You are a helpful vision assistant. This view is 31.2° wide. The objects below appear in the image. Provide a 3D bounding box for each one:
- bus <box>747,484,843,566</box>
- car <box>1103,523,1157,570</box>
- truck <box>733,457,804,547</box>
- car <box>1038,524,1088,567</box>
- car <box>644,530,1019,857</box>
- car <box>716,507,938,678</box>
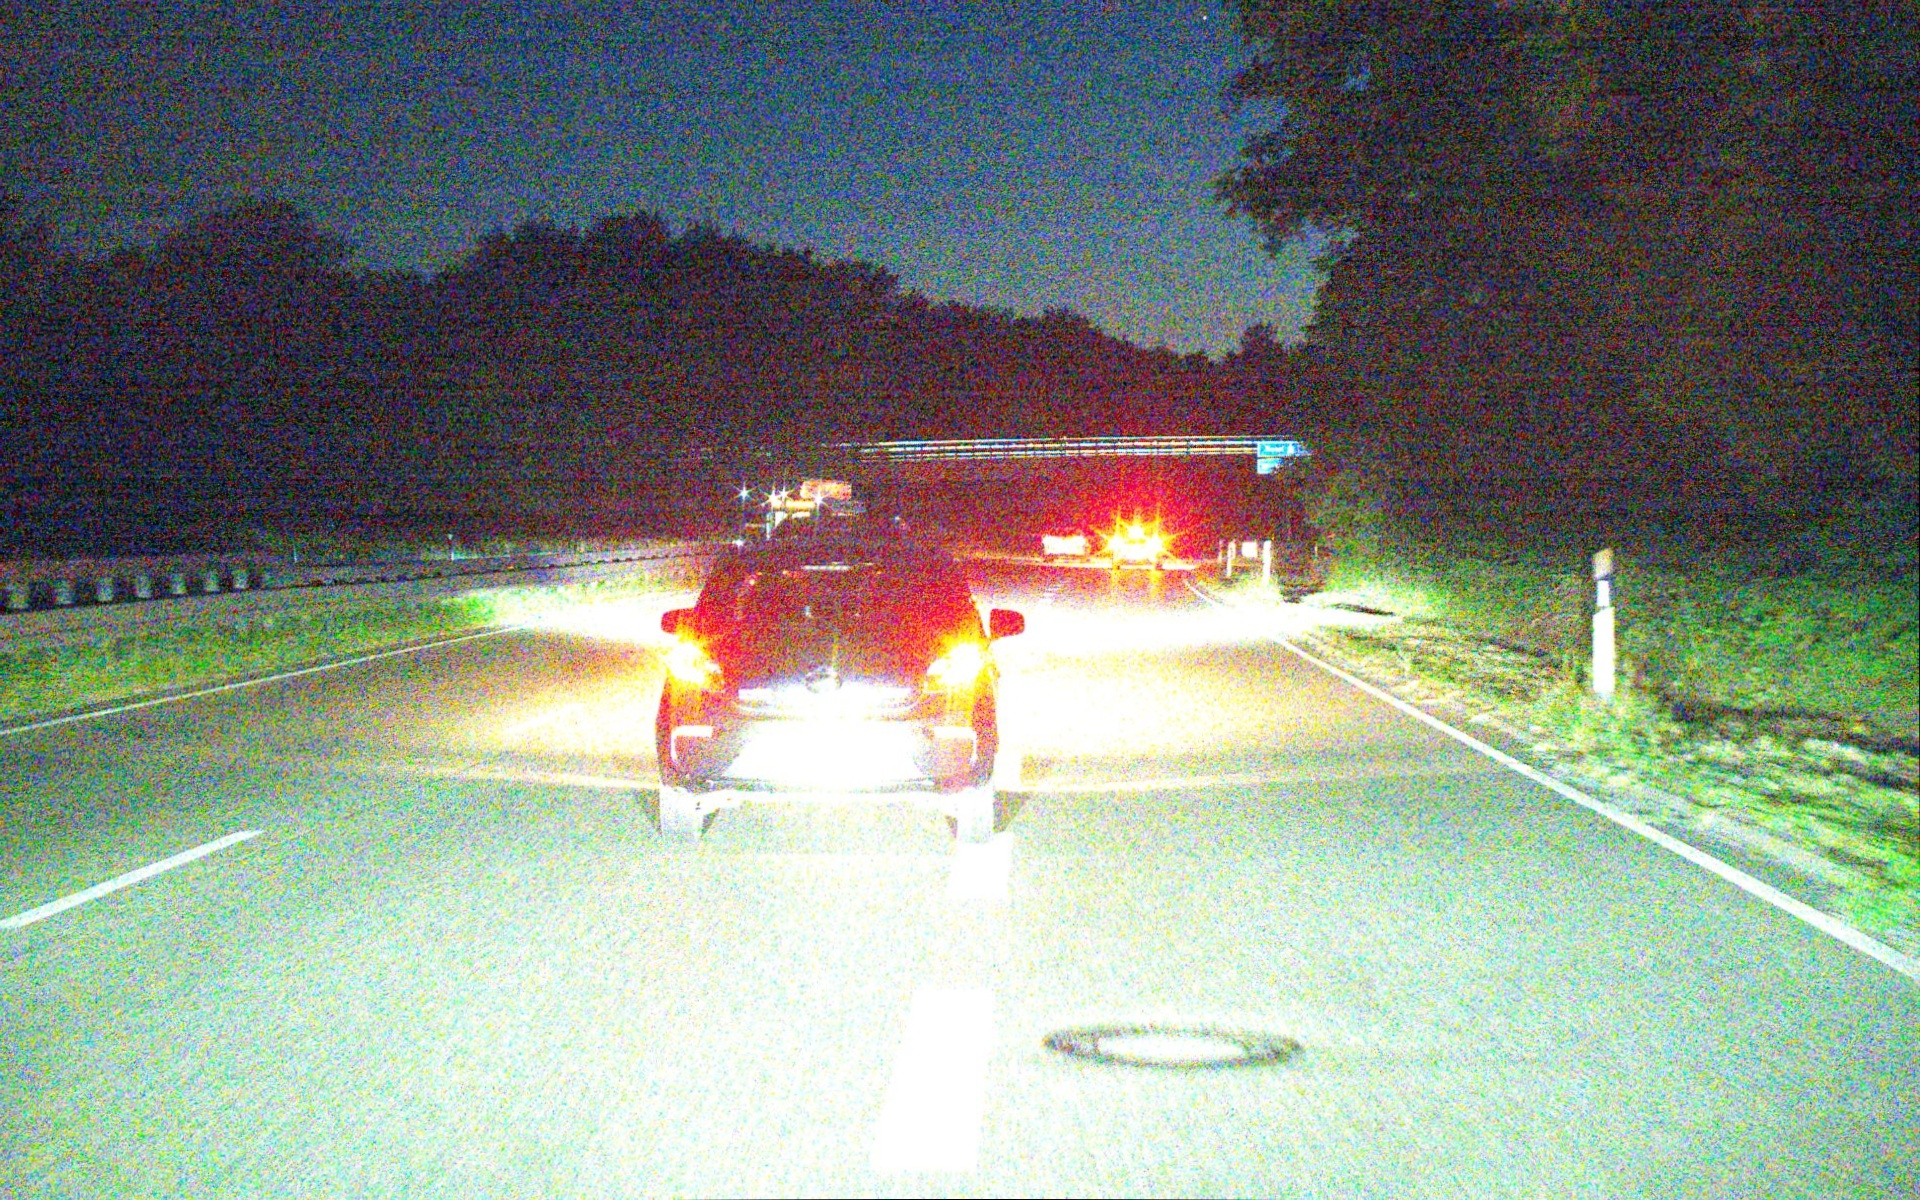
[{"bbox_3d":[-7.017,-3.303,147.922,2.924,3.376,12.307,0,2,3],"label":"bus"},{"bbox_3d":[6.038,-1.904,122.283,1.733,1.612,3.798,1,1,0],"label":"car"},{"bbox_3d":[-8.993,-4.599,161.930,2.676,4.163,5.868,0,1,3],"label":"truck"},{"bbox_3d":[4.268,-2.242,142.534,1.951,1.533,4.241,-4,0,2],"label":"car"},{"bbox_3d":[-0.675,0.389,17.731,1.691,1.472,4.001,1,1,-3],"label":"car"},{"bbox_3d":[-1.286,-0.137,35.170,1.940,1.603,4.643,1,2,2],"label":"car"}]
